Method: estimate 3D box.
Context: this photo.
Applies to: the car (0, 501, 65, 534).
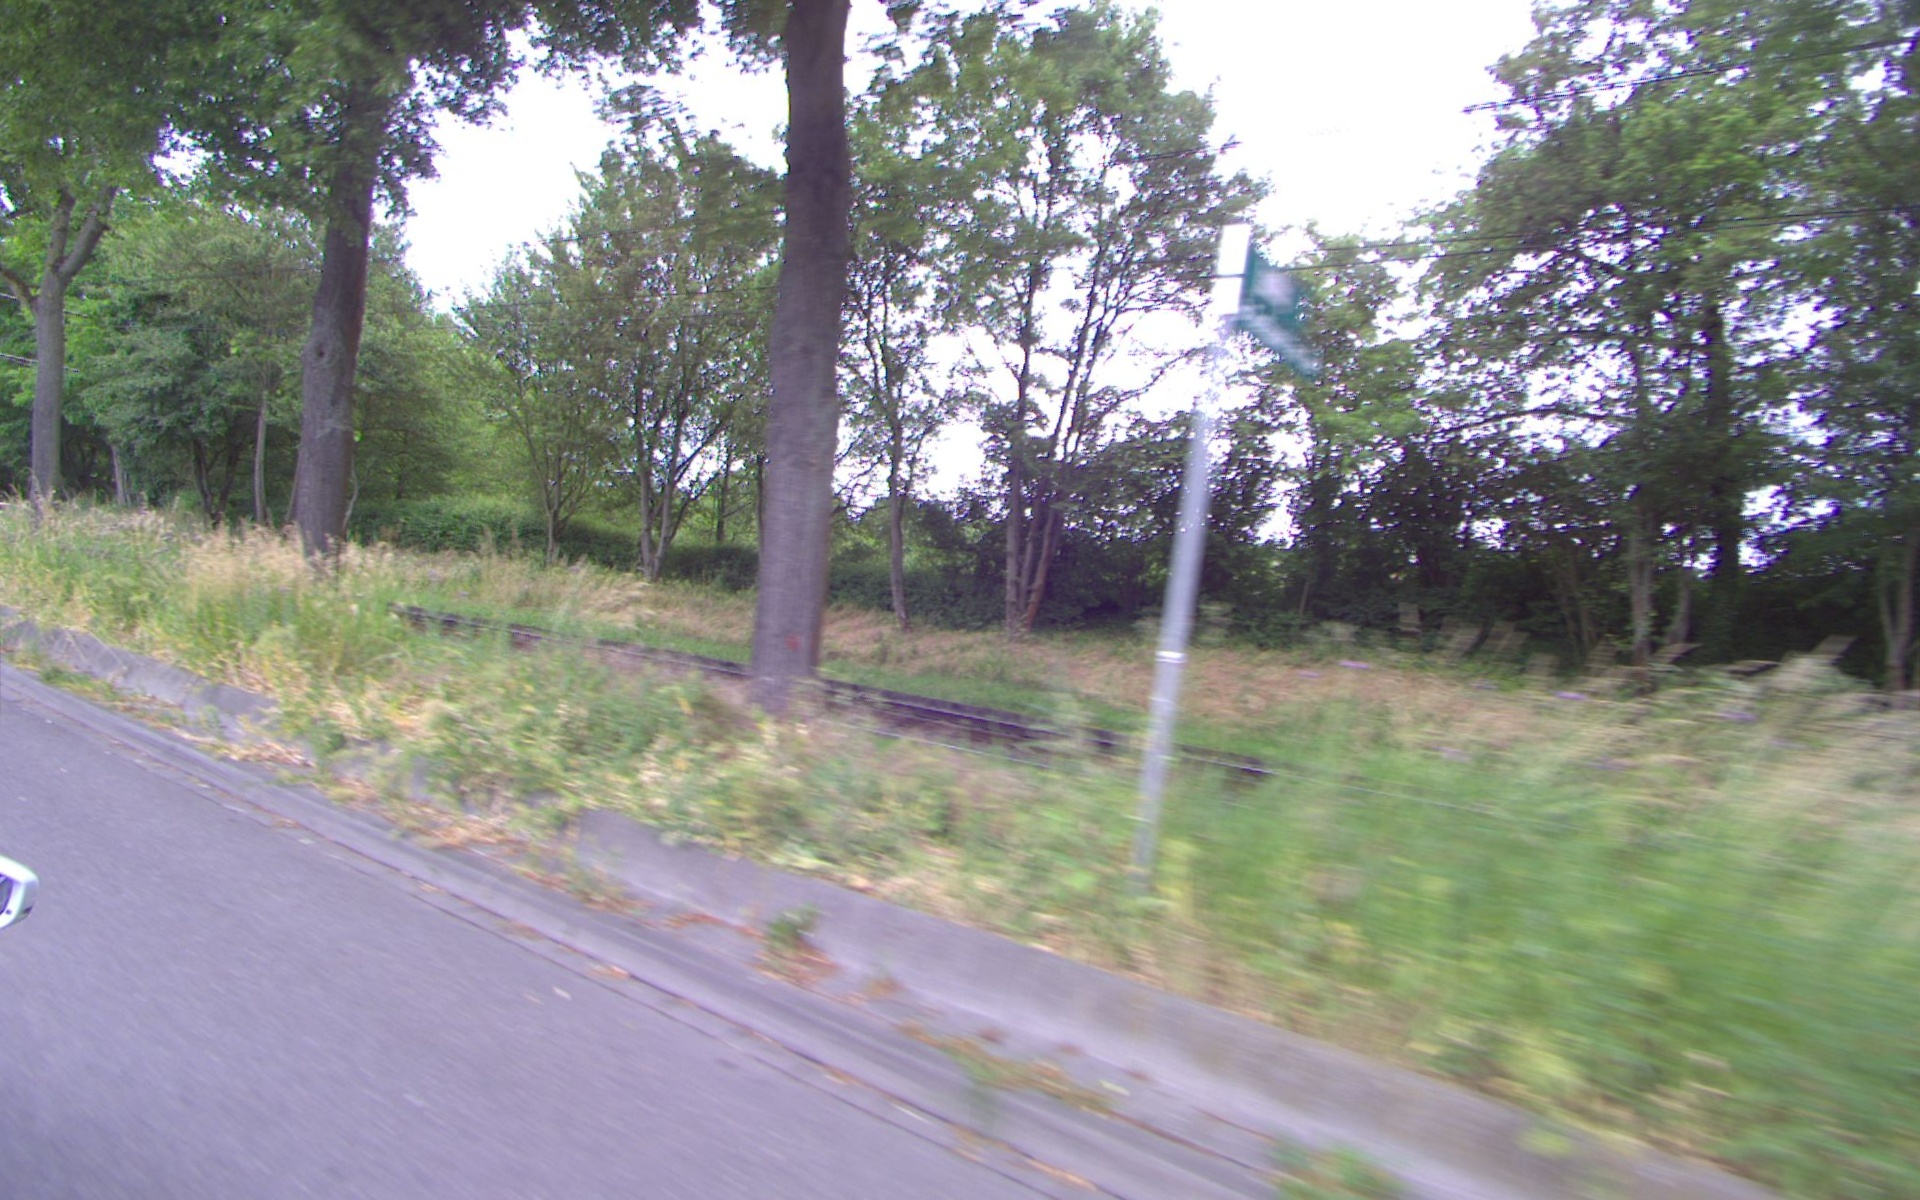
[{"bbox_3d":[-56.446,-5.053,60.036,1.965,1.368,4.004,7,-4,27],"label":"car"}]
